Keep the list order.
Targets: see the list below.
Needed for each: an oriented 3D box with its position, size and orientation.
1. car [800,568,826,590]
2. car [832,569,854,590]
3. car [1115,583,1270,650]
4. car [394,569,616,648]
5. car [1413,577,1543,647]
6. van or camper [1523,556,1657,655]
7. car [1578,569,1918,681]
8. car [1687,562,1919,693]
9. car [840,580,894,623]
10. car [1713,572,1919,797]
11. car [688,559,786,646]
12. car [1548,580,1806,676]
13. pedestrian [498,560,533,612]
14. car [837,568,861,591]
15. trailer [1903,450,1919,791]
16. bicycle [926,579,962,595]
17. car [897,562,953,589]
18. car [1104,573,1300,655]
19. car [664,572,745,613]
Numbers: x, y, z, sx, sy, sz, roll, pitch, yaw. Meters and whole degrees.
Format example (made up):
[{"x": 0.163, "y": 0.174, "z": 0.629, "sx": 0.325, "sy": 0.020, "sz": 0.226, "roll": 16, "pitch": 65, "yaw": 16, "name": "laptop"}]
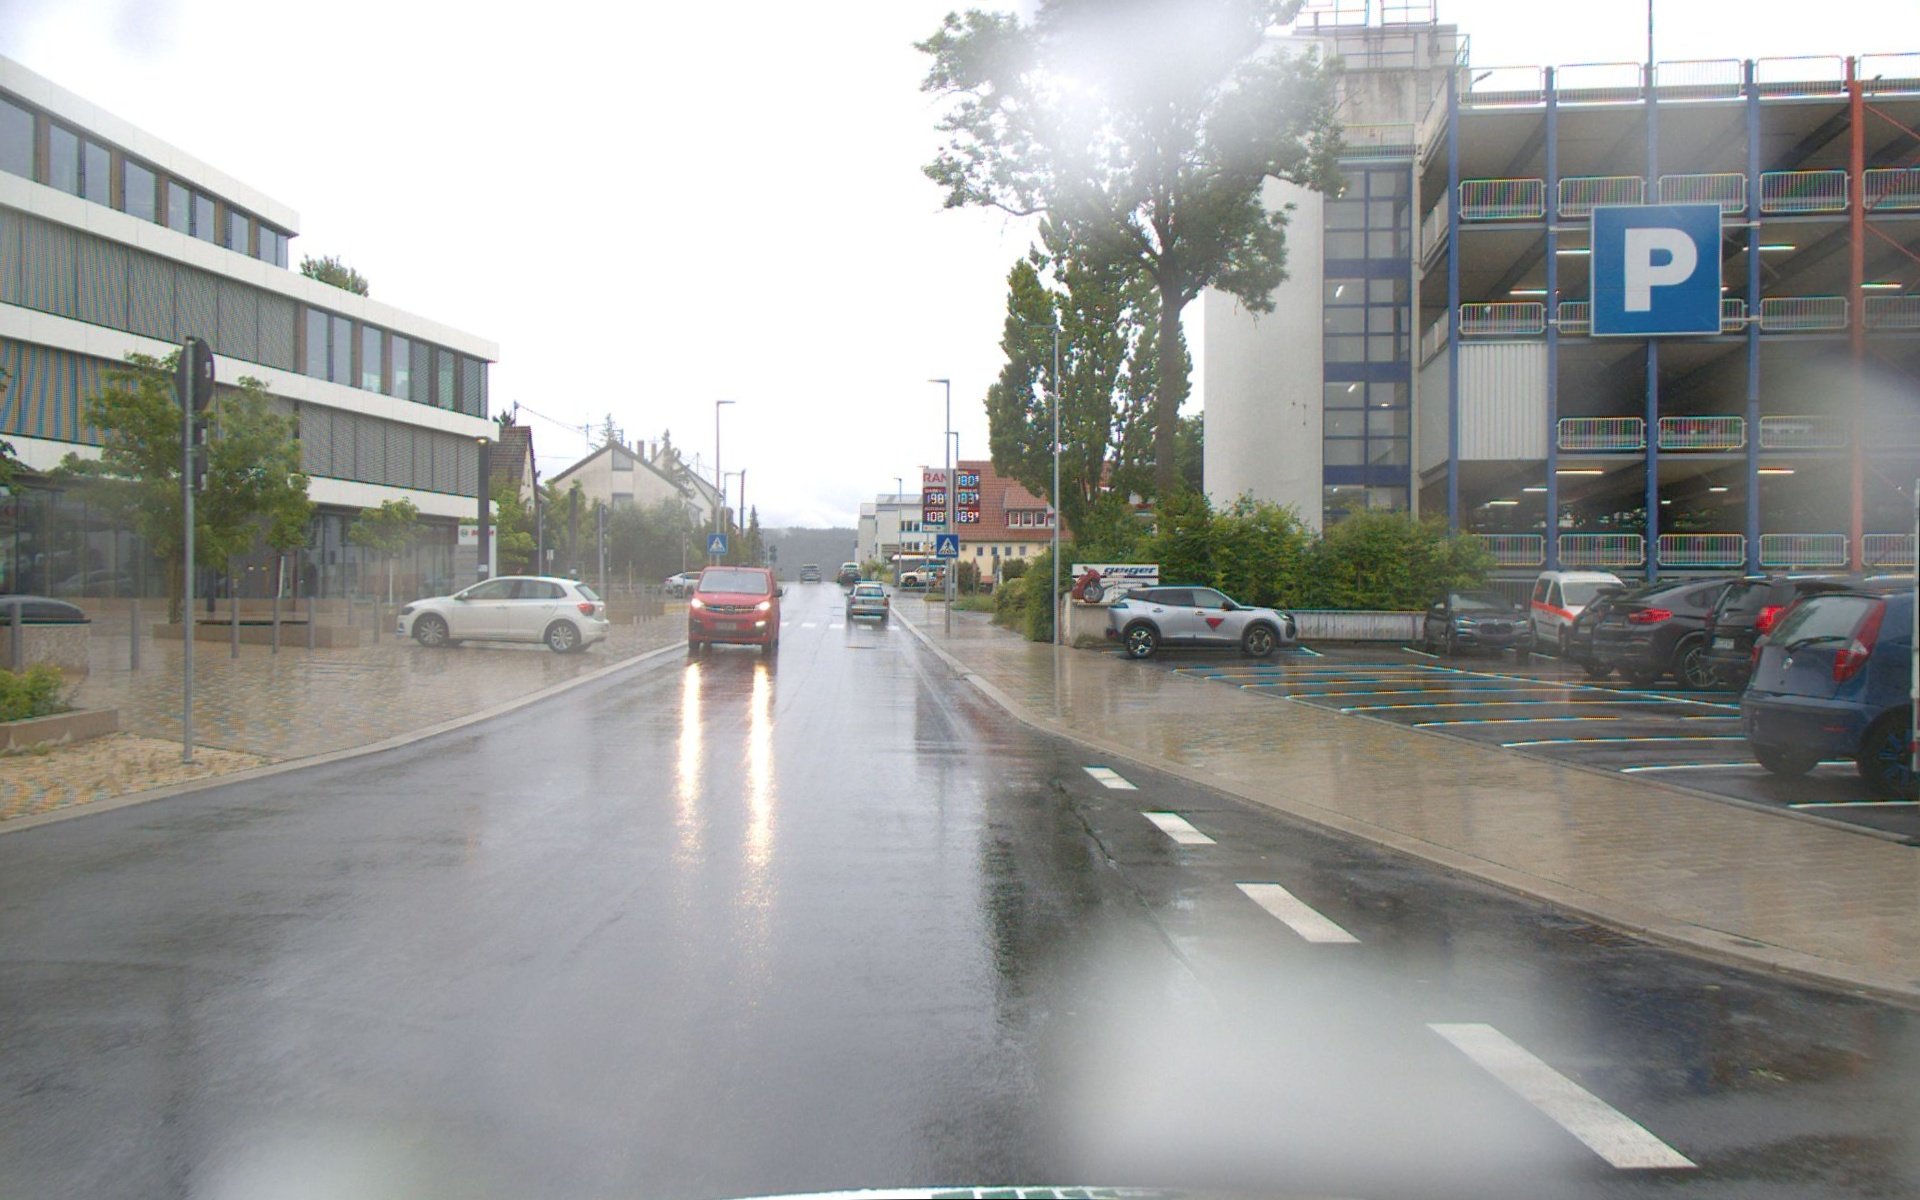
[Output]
[{"x": -13.227, "y": -1.880, "z": 149.029, "sx": 2.112, "sy": 1.735, "sz": 3.996, "roll": 4, "pitch": -1, "yaw": -4, "name": "car"}, {"x": -11.047, "y": -1.939, "z": 156.072, "sx": 1.955, "sy": 1.735, "sz": 3.996, "roll": 4, "pitch": -1, "yaw": -4, "name": "car"}, {"x": 5.447, "y": 0.385, "z": 39.054, "sx": 3.544, "sy": 1.520, "sz": 1.807, "roll": 0, "pitch": 0, "yaw": 5, "name": "car"}, {"x": -8.838, "y": 0.157, "z": 32.396, "sx": 3.849, "sy": 1.448, "sz": 1.897, "roll": 1, "pitch": 0, "yaw": -3, "name": "car"}, {"x": 11.564, "y": 0.239, "z": 37.191, "sx": 1.892, "sy": 1.467, "sz": 4.209, "roll": 1, "pitch": 0, "yaw": 4, "name": "car"}, {"x": 14.071, "y": 0.097, "z": 37.184, "sx": 1.798, "sy": 2.072, "sz": 4.465, "roll": 1, "pitch": 0, "yaw": 7, "name": "van or camper"}, {"x": 11.673, "y": 0.347, "z": 24.650, "sx": 4.271, "sy": 1.586, "sz": 1.838, "roll": 0, "pitch": 0, "yaw": -6, "name": "car"}, {"x": 12.358, "y": 0.356, "z": 22.398, "sx": 4.268, "sy": 1.687, "sz": 1.785, "roll": 0, "pitch": 0, "yaw": -4, "name": "car"}, {"x": -3.847, "y": 0.081, "z": 67.773, "sx": 1.911, "sy": 1.583, "sz": 3.994, "roll": 4, "pitch": -1, "yaw": -6, "name": "car"}, {"x": 7.859, "y": 0.573, "z": 12.441, "sx": 3.652, "sy": 1.555, "sz": 1.649, "roll": -1, "pitch": -1, "yaw": -4, "name": "car"}, {"x": -5.058, "y": 0.027, "z": 38.048, "sx": 1.964, "sy": 1.849, "sz": 4.974, "roll": 1, "pitch": 0, "yaw": -5, "name": "car"}, {"x": 11.918, "y": 0.449, "z": 27.623, "sx": 3.613, "sy": 1.526, "sz": 1.641, "roll": 1, "pitch": 0, "yaw": -4, "name": "car"}, {"x": -15.077, "y": -0.481, "z": 56.123, "sx": 0.994, "sy": 1.754, "sz": 0.771, "roll": 1, "pitch": 0, "yaw": -7, "name": "pedestrian"}, {"x": -9.577, "y": -1.745, "z": 143.028, "sx": 1.955, "sy": 1.735, "sz": 3.996, "roll": 4, "pitch": -1, "yaw": -4, "name": "car"}, {"x": 7.549, "y": 0.152, "z": 10.134, "sx": 2.647, "sy": 2.209, "sz": 1.548, "roll": 1, "pitch": 0, "yaw": -2, "name": "trailer"}, {"x": -1.200, "y": -0.940, "z": 121.193, "sx": 0.663, "sy": 1.085, "sz": 3.584, "roll": 5, "pitch": -2, "yaw": -35, "name": "bicycle"}, {"x": -2.712, "y": -1.855, "z": 127.708, "sx": 4.035, "sy": 1.735, "sz": 1.785, "roll": 4, "pitch": -2, "yaw": -7, "name": "car"}, {"x": 5.278, "y": 0.302, "z": 36.389, "sx": 4.118, "sy": 1.678, "sz": 2.001, "roll": -1, "pitch": 0, "yaw": 6, "name": "car"}, {"x": -15.385, "y": -0.430, "z": 99.671, "sx": 4.666, "sy": 2.049, "sz": 1.996, "roll": 4, "pitch": -2, "yaw": -9, "name": "car"}]
